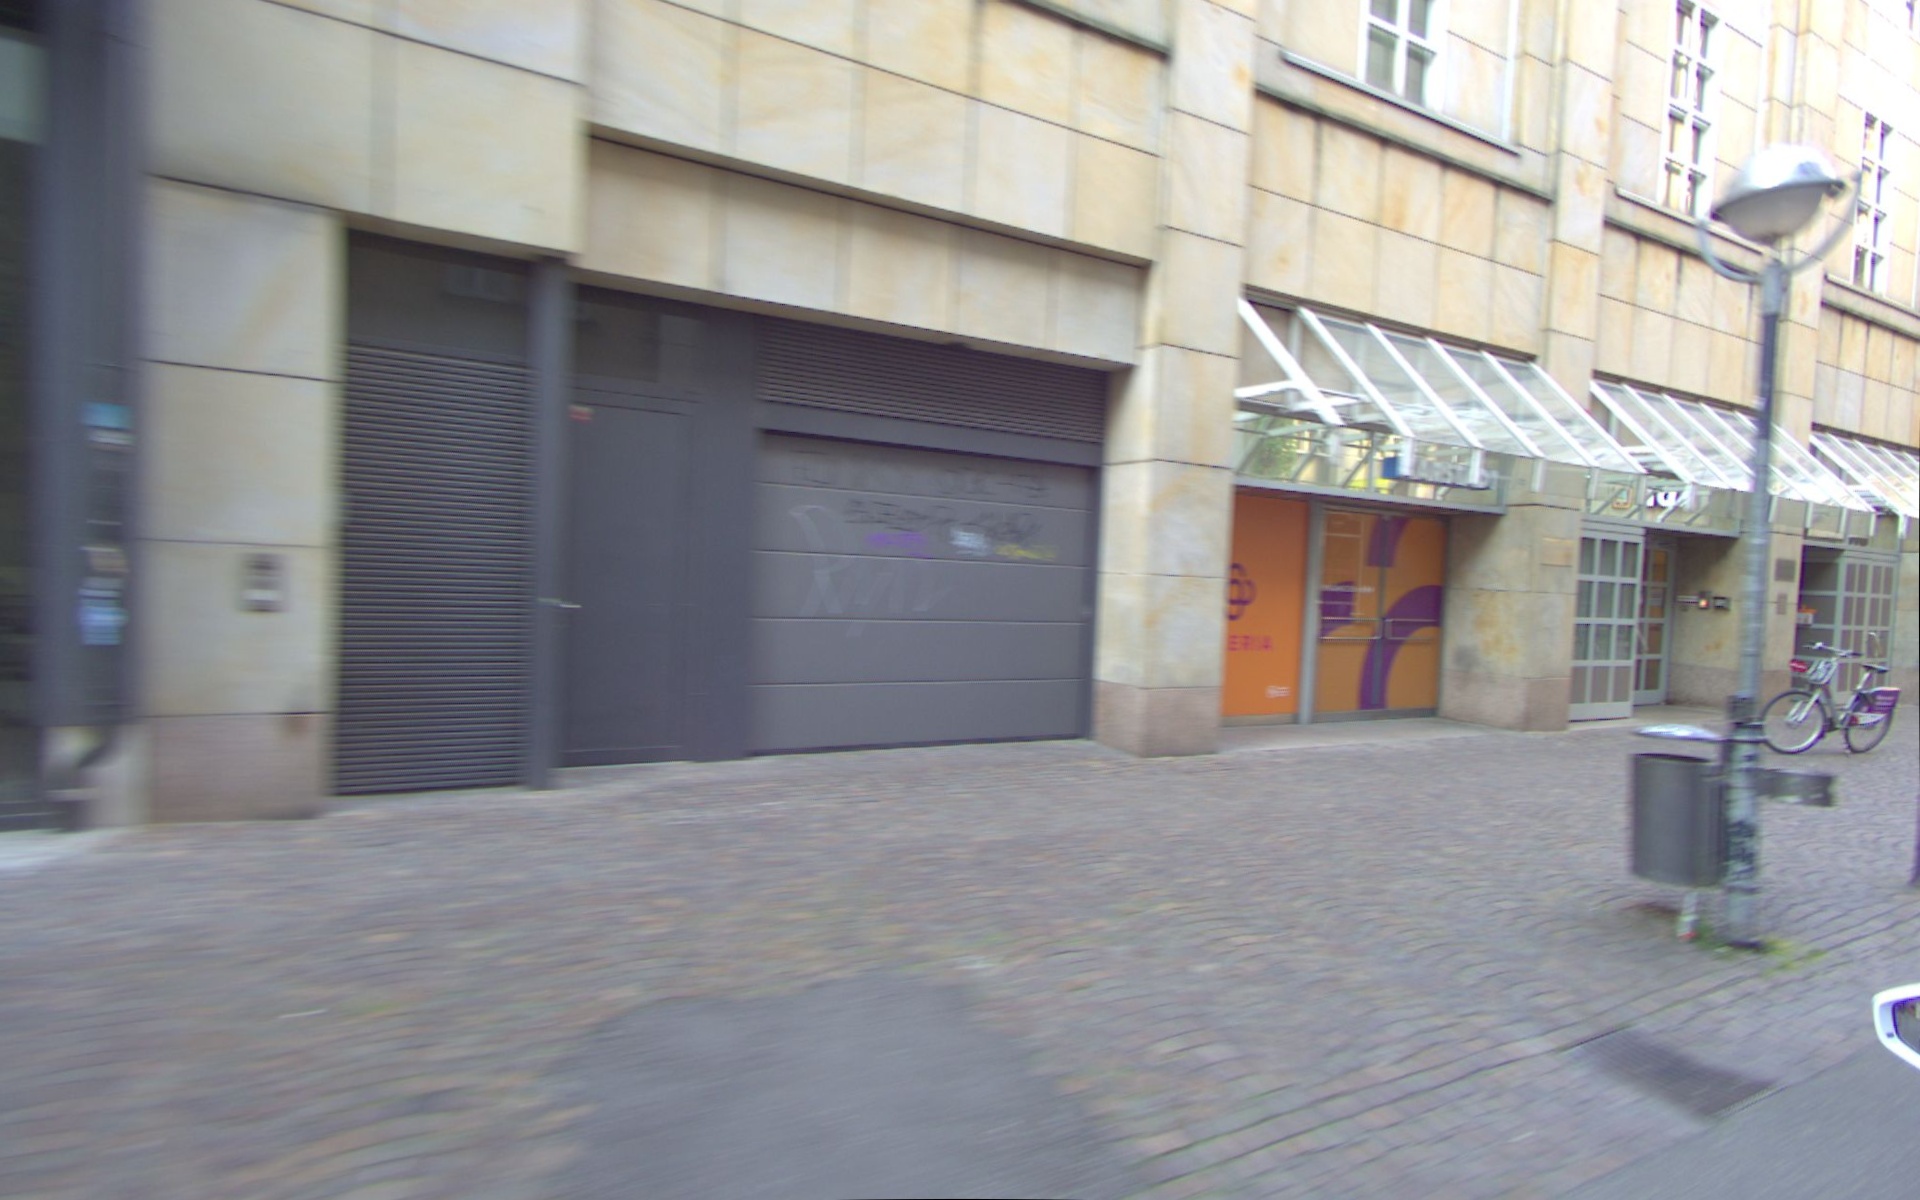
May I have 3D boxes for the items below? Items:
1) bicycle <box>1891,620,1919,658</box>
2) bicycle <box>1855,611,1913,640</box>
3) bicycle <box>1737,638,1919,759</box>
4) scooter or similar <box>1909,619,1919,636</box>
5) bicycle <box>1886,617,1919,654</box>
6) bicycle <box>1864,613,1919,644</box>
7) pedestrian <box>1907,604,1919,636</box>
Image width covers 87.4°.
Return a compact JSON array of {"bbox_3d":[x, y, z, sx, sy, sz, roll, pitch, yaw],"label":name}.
[{"bbox_3d":[31.970,1.313,33.070,1.893,1.198,0.692,4,2,44],"label":"bicycle"},{"bbox_3d":[42.303,1.163,46.009,1.893,1.198,0.692,4,2,44],"label":"bicycle"},{"bbox_3d":[8.982,0.985,10.265,1.747,1.127,0.693,2,1,-15],"label":"bicycle"},{"bbox_3d":[50.339,1.466,52.574,0.880,0.854,0.907,3,2,39],"label":"scooter or similar"},{"bbox_3d":[32.488,1.214,33.786,1.893,1.198,0.692,4,2,44],"label":"bicycle"},{"bbox_3d":[39.683,1.219,42.630,1.893,1.198,0.692,4,2,44],"label":"bicycle"},{"bbox_3d":[50.916,1.066,53.272,0.880,1.661,0.907,3,2,39],"label":"pedestrian"}]
